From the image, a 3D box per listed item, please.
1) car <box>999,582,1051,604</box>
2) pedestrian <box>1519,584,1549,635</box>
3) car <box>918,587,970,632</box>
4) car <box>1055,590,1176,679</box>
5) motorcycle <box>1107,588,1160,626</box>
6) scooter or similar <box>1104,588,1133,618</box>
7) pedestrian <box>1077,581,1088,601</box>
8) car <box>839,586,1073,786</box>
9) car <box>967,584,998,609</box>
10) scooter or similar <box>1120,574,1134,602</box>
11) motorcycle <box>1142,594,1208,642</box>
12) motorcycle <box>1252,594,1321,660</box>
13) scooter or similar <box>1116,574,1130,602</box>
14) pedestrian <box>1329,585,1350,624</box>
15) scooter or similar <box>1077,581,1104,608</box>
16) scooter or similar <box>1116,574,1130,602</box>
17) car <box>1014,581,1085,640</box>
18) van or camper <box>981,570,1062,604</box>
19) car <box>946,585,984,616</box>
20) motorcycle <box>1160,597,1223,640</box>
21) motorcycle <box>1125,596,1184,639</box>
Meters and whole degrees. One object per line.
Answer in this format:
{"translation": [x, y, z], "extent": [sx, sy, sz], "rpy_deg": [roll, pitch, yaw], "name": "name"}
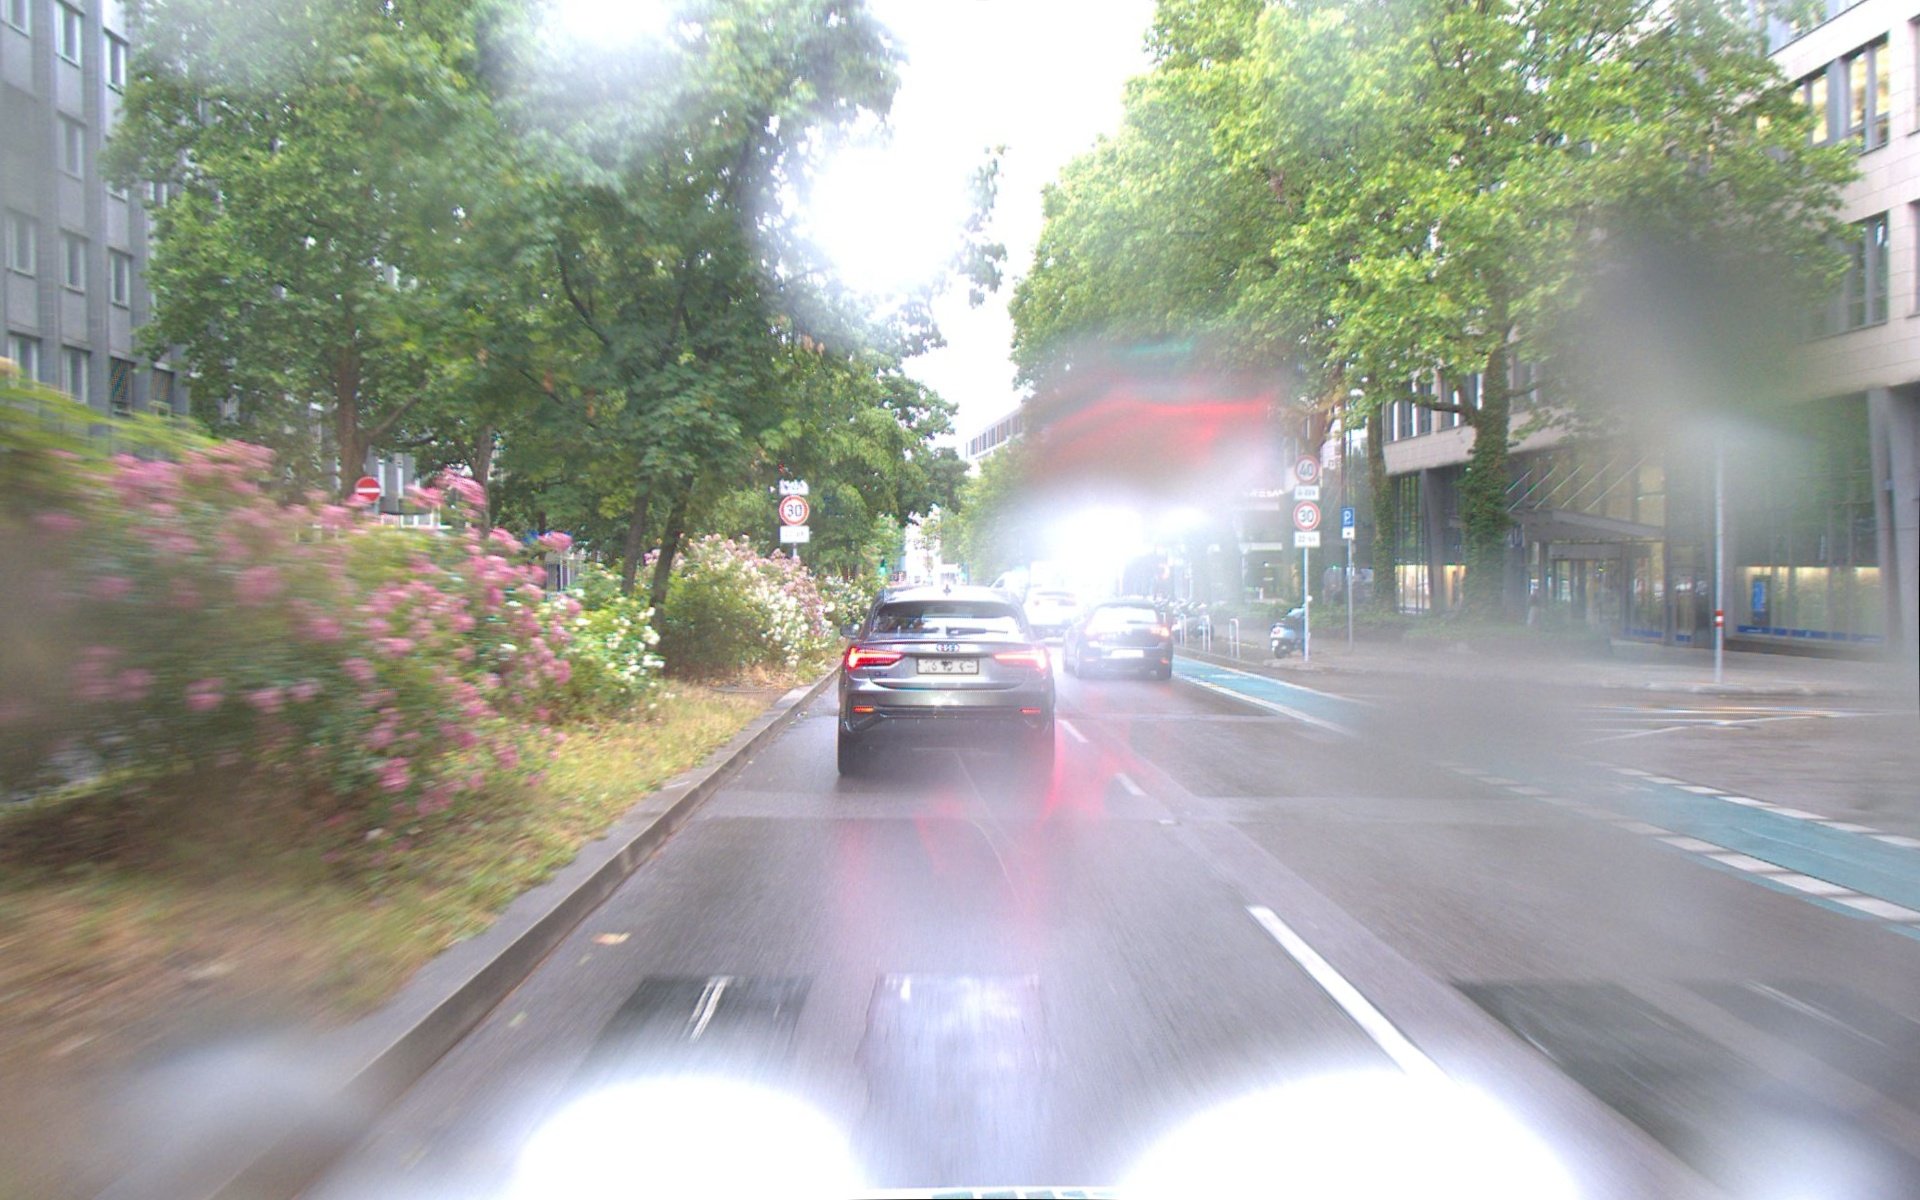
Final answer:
{"translation": [4.809, -0.493, 122.192], "extent": [3.572, 1.574, 1.716], "rpy_deg": [1, 0, 18], "name": "car"}
{"translation": [19.764, 0.314, 56.928], "extent": [0.716, 1.722, 0.824], "rpy_deg": [0, 1, 41], "name": "pedestrian"}
{"translation": [-0.598, 0.319, 59.069], "extent": [1.812, 1.550, 4.037], "rpy_deg": [0, 0, -1], "name": "car"}
{"translation": [2.849, 0.592, 31.124], "extent": [1.812, 1.550, 4.037], "rpy_deg": [0, 0, -1], "name": "car"}
{"translation": [6.804, 0.281, 64.988], "extent": [1.925, 1.397, 0.725], "rpy_deg": [-2, 2, -18], "name": "motorcycle"}
{"translation": [7.094, 0.136, 74.099], "extent": [1.262, 1.300, 0.537], "rpy_deg": [-1, 2, 2], "name": "scooter or similar"}
{"translation": [10.810, -0.790, 146.142], "extent": [0.789, 1.726, 1.187], "rpy_deg": [1, 0, -3], "name": "pedestrian"}
{"translation": [-0.104, 0.653, 14.854], "extent": [1.812, 1.550, 4.037], "rpy_deg": [0, 0, -2], "name": "car"}
{"translation": [1.386, -0.228, 103.995], "extent": [1.812, 1.550, 4.037], "rpy_deg": [0, 0, -1], "name": "car"}
{"translation": [8.081, -0.584, 79.978], "extent": [0.478, 1.281, 1.293], "rpy_deg": [-1, 2, -1], "name": "scooter or similar"}
{"translation": [6.953, 0.571, 53.572], "extent": [2.026, 1.453, 0.724], "rpy_deg": [-2, 2, -23], "name": "motorcycle"}
{"translation": [7.495, 0.616, 37.886], "extent": [0.672, 1.391, 1.937], "rpy_deg": [-4, 0, 38], "name": "motorcycle"}
{"translation": [7.738, -0.595, 78.737], "extent": [0.478, 1.281, 1.293], "rpy_deg": [-1, 2, -1], "name": "scooter or similar"}
{"translation": [17.804, 0.222, 77.662], "extent": [0.808, 1.835, 0.729], "rpy_deg": [0, 0, 1], "name": "pedestrian"}
{"translation": [6.379, -0.282, 81.011], "extent": [1.262, 1.281, 0.490], "rpy_deg": [-1, 2, 10], "name": "scooter or similar"}
{"translation": [7.738, -0.595, 78.737], "extent": [0.478, 1.281, 1.293], "rpy_deg": [-1, 2, -1], "name": "scooter or similar"}
{"translation": [2.646, 0.291, 49.622], "extent": [1.812, 1.698, 4.037], "rpy_deg": [0, 0, -1], "name": "car"}
{"translation": [4.764, -0.963, 128.134], "extent": [5.945, 2.603, 2.103], "rpy_deg": [0, 0, 26], "name": "van or camper"}
{"translation": [0.222, 0.022, 84.428], "extent": [1.812, 1.550, 4.037], "rpy_deg": [0, 0, -1], "name": "car"}
{"translation": [7.179, 0.561, 51.209], "extent": [2.038, 1.234, 0.676], "rpy_deg": [-3, 0, -37], "name": "motorcycle"}
{"translation": [6.814, 0.594, 57.963], "extent": [1.929, 1.397, 0.724], "rpy_deg": [-2, 2, -23], "name": "motorcycle"}
